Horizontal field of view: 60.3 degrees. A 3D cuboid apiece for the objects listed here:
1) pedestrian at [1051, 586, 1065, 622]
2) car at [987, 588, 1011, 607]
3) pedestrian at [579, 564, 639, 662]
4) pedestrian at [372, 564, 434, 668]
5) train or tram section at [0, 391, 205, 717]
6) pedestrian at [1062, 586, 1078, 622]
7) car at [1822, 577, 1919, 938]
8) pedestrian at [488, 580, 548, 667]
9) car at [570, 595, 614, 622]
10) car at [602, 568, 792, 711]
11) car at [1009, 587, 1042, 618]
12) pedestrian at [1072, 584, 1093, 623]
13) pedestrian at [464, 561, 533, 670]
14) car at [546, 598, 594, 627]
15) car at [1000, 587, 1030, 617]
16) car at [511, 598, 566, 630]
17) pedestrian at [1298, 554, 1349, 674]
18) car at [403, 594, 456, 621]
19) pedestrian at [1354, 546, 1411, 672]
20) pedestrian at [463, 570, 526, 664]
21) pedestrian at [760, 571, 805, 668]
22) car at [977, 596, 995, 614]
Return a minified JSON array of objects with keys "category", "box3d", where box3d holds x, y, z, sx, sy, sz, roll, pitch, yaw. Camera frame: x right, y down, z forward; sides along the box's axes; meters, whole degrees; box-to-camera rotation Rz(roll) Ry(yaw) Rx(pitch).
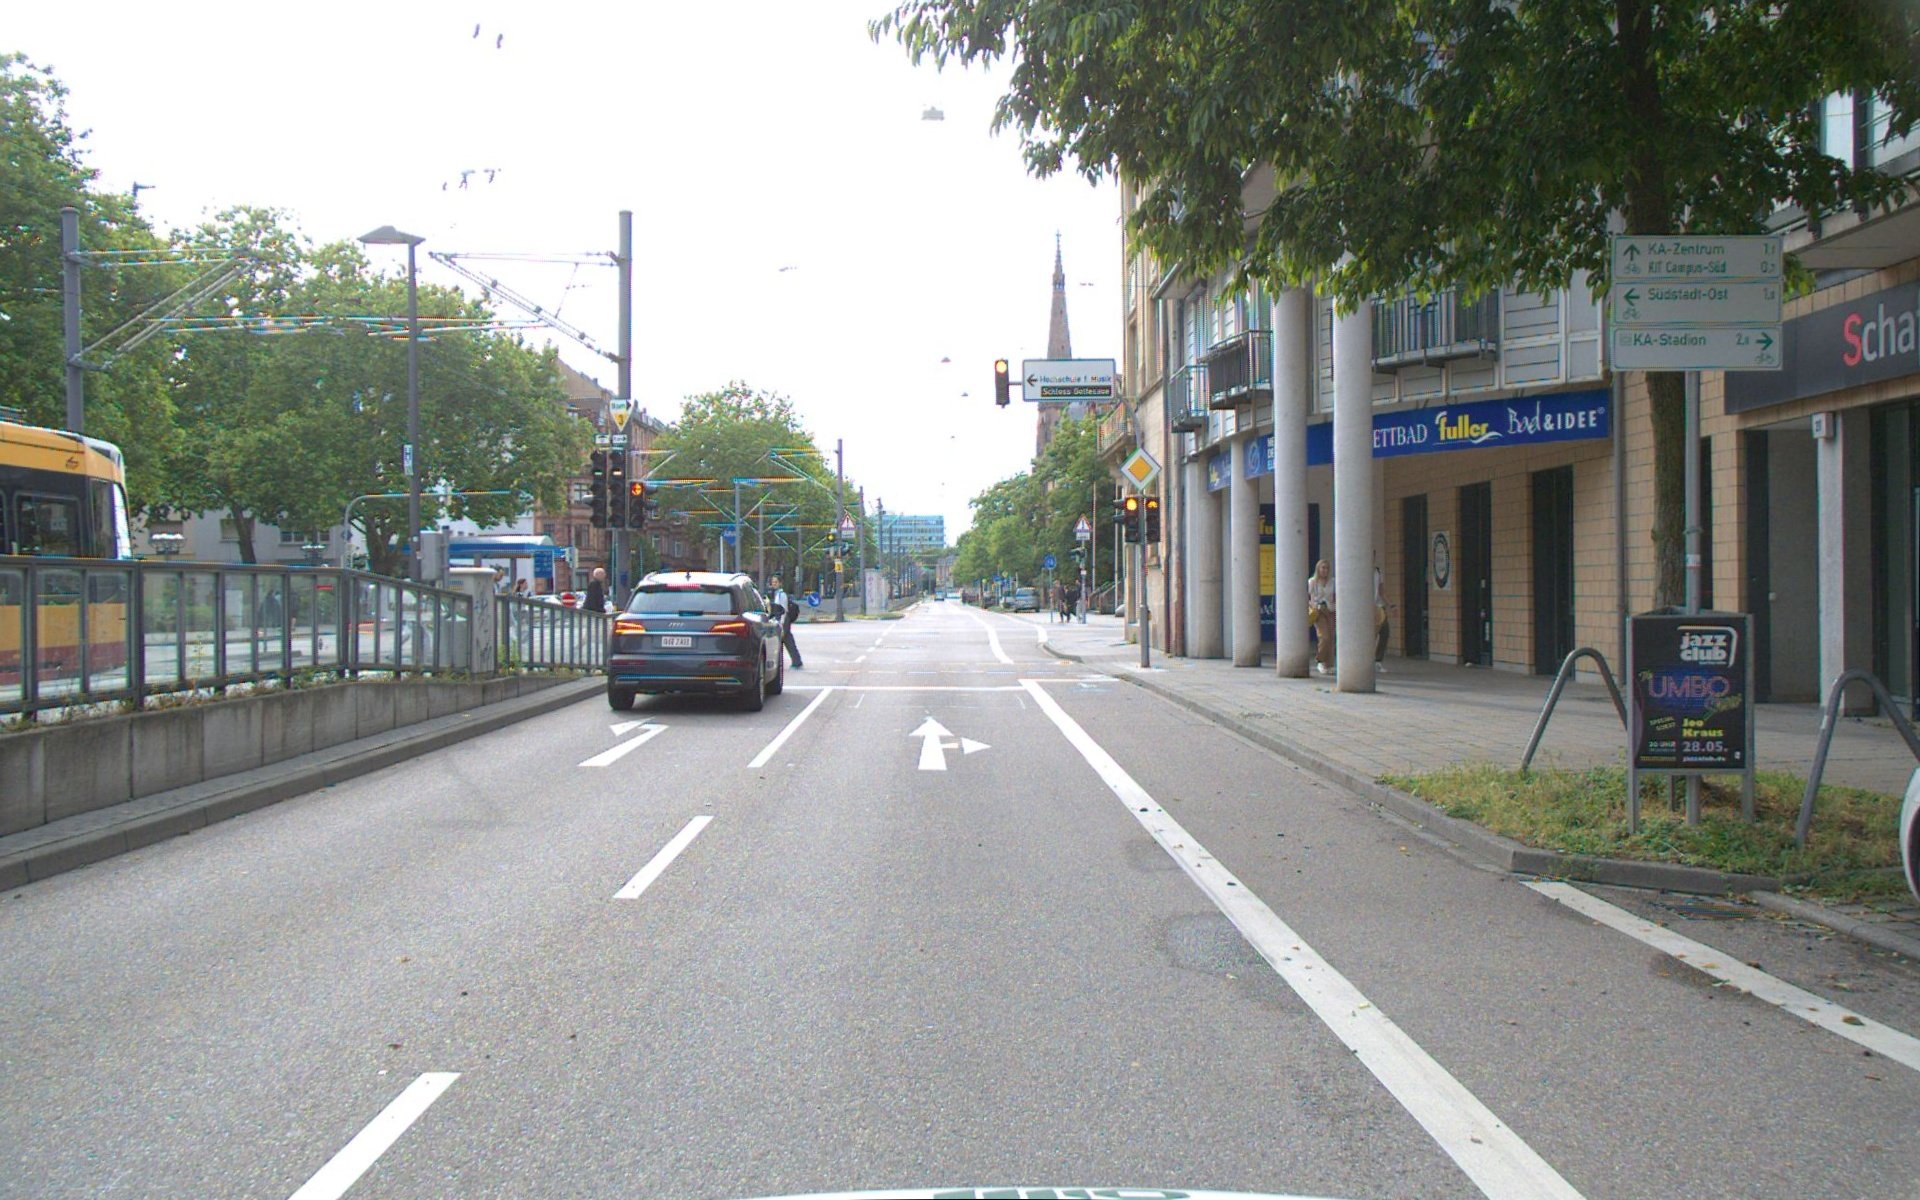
[{"category":"pedestrian","box3d":[4.341,0.171,73.093,0.535,1.564,0.465,1,0,-5]},{"category":"car","box3d":[3.494,-0.257,148.845,1.953,1.635,4.163,-2,0,-1]},{"category":"pedestrian","box3d":[-6.600,0.240,31.095,0.900,1.815,0.645,1,0,37]},{"category":"pedestrian","box3d":[-10.113,0.288,30.029,0.998,1.845,0.580,1,0,-24]},{"category":"train or tram section","box3d":[-12.208,-0.531,15.717,2.998,3.651,15.846,1,0,-1]},{"category":"pedestrian","box3d":[4.824,0.189,72.617,0.640,1.564,0.465,1,0,-5]},{"category":"car","box3d":[4.876,0.640,5.530,1.642,1.525,4.390,-3,0,0]},{"category":"pedestrian","box3d":[-8.361,0.438,31.294,0.689,1.621,0.828,1,0,36]},{"category":"car","box3d":[-22.022,0.501,99.129,1.856,1.585,3.835,1,0,-1]},{"category":"car","box3d":[-3.241,0.450,21.159,1.842,1.629,4.356,0,0,-2]},{"category":"car","box3d":[4.381,0.156,110.611,1.953,2.049,3.999,1,0,-1]},{"category":"pedestrian","box3d":[5.265,0.149,70.990,0.834,1.683,0.508,1,0,-3]},{"category":"pedestrian","box3d":[-7.808,0.254,27.979,1.113,1.810,0.625,0,-1,-19]},{"category":"car","box3d":[-21.751,0.684,92.363,1.856,1.585,3.835,1,0,-1]},{"category":"car","box3d":[3.956,0.138,120.038,1.953,2.049,3.999,1,0,-1]},{"category":"car","box3d":[-21.758,0.692,85.518,1.856,1.585,3.835,1,0,-1]},{"category":"pedestrian","box3d":[5.679,0.209,25.886,0.603,1.837,0.737,-1,0,0]},{"category":"car","box3d":[-32.117,0.444,100.307,1.953,1.557,3.999,1,0,-1]},{"category":"pedestrian","box3d":[6.594,0.136,25.825,0.661,1.923,0.737,-1,0,0]},{"category":"pedestrian","box3d":[-8.473,0.305,30.111,0.982,1.681,0.622,1,0,-29]},{"category":"pedestrian","box3d":[-3.145,0.336,29.316,0.713,1.690,0.756,1,0,-1]},{"category":"car","box3d":[2.990,0.553,192.326,1.953,2.049,3.999,1,0,-1]}]
